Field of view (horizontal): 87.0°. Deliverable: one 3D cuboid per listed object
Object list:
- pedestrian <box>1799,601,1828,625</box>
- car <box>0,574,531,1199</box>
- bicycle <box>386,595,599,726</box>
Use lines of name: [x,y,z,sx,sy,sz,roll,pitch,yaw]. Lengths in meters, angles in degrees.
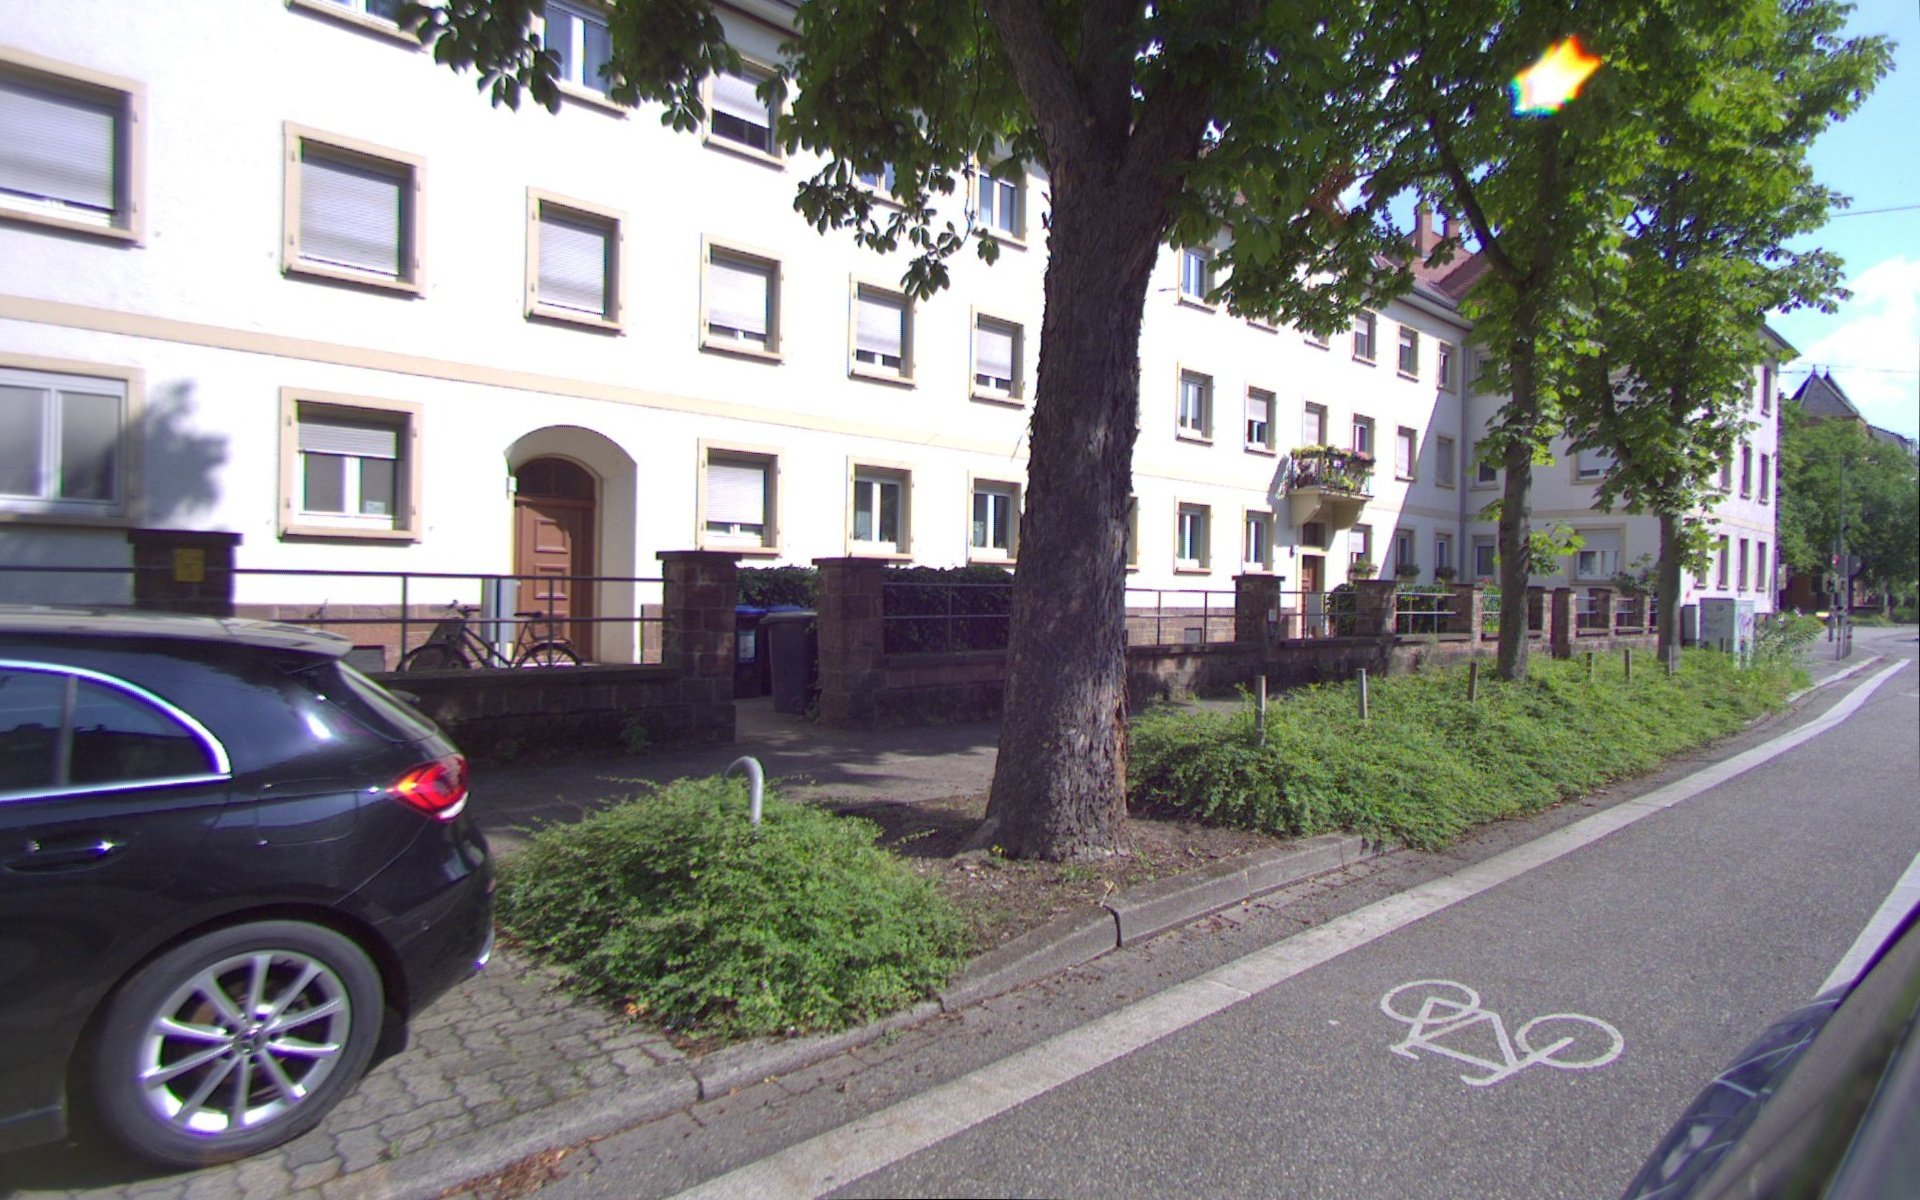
pedestrian: [48.565,0.736,57.564,1.156,1.217,0.893,5,3,42]
car: [-3.434,0.697,2.321,4.214,1.540,1.663,0,0,-42]
bicycle: [-4.497,0.539,9.821,1.769,1.149,0.626,0,0,-41]
